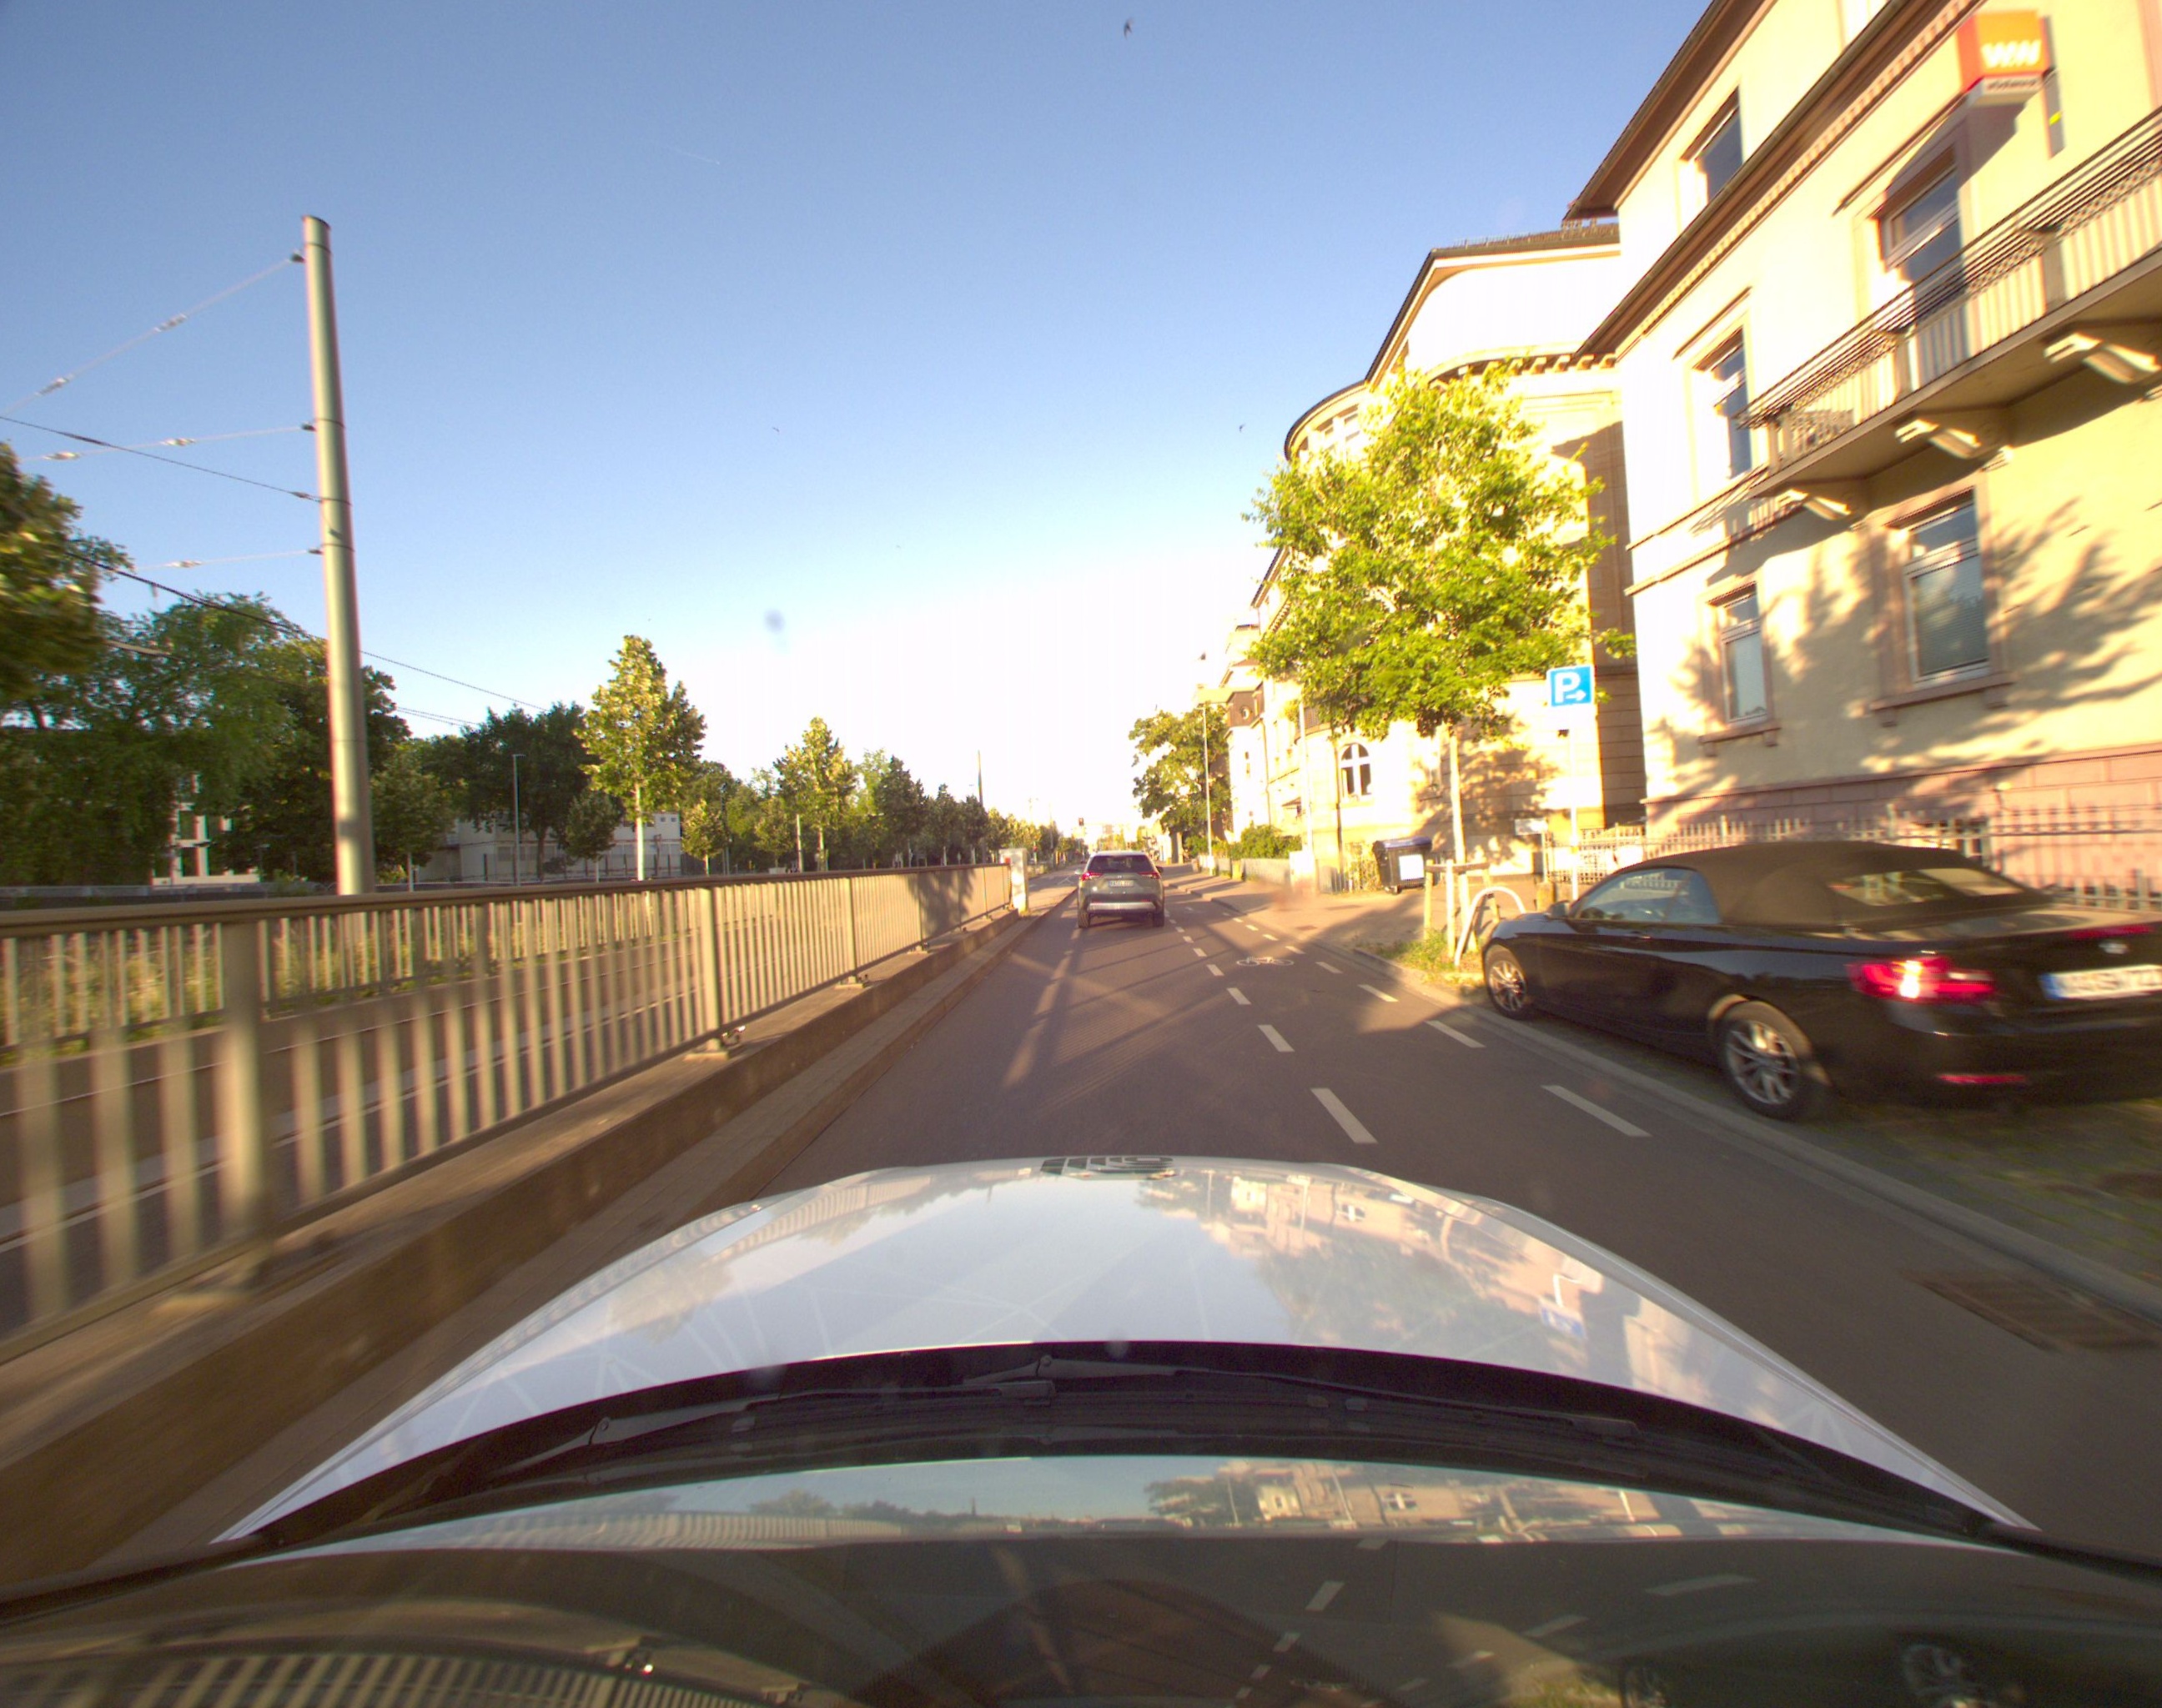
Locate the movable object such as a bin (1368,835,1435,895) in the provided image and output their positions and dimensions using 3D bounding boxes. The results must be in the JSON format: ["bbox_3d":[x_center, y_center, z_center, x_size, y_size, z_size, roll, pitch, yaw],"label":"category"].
[{"bbox_3d":[8.396,0.285,21.398,1.256,1.462,1.123,-3,-1,-1],"label":"movable object such as a bin"}]

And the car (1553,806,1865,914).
[{"bbox_3d":[11.502,0.114,15.182,4.176,1.571,1.919,-4,0,4],"label":"car"}]

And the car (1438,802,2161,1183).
[{"bbox_3d":[4.449,0.578,5.701,1.787,1.471,4.443,-6,0,-1],"label":"car"}]

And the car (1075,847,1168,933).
[{"bbox_3d":[0.846,0.743,18.694,1.851,1.714,4.192,-1,0,0],"label":"car"}]
